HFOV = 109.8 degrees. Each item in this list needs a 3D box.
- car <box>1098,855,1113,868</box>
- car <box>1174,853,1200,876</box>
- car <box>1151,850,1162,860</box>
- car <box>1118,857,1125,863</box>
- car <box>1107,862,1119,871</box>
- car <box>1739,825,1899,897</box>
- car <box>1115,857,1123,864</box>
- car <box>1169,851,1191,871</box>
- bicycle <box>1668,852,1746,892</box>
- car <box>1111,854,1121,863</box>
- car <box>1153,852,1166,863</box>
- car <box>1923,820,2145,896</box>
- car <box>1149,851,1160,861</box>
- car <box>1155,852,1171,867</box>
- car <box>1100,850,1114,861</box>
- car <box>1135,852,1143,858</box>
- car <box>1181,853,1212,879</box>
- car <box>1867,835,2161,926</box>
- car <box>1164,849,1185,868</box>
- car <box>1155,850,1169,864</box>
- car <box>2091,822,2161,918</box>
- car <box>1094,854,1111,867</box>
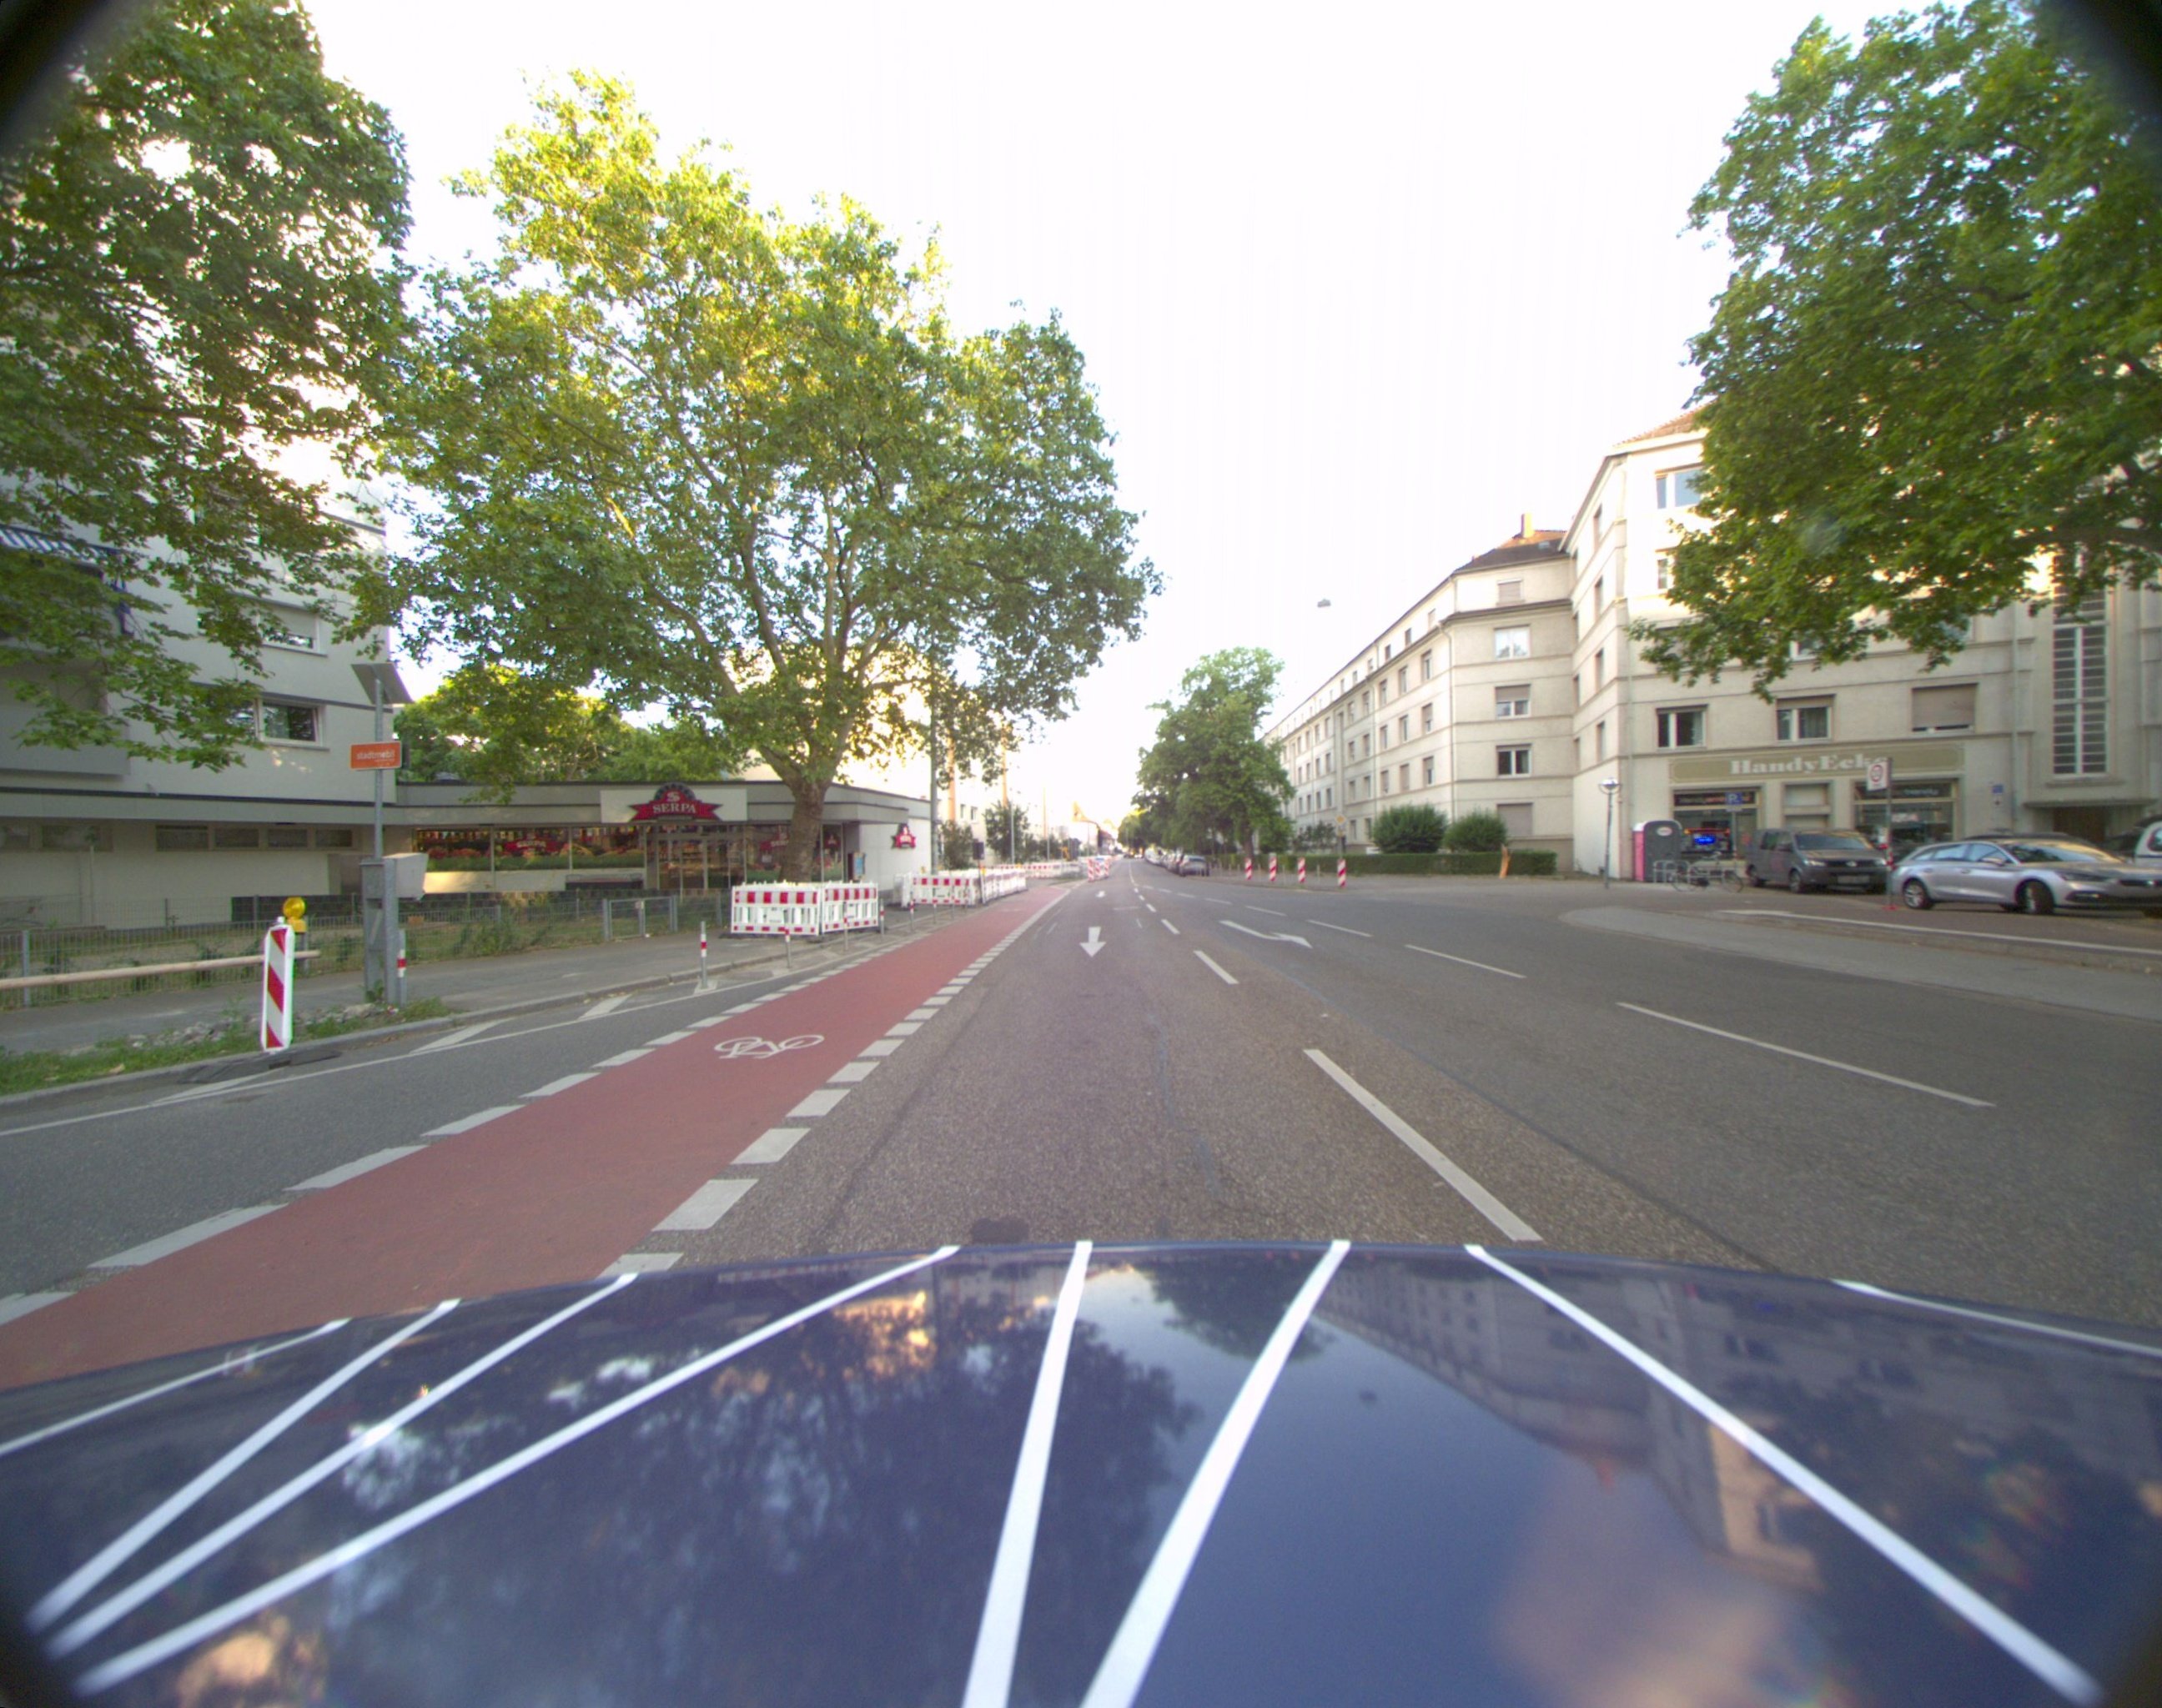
[{"bbox_3d":[3.711,1.061,113.332,1.892,1.726,4.260,-2,1,6],"label":"car"},{"bbox_3d":[8.626,0.860,62.183,1.892,1.681,4.260,-2,1,6],"label":"car"},{"bbox_3d":[13.149,0.227,132.804,1.892,1.591,4.260,-2,1,6],"label":"car"},{"bbox_3d":[10.988,1.647,205.712,1.892,1.591,4.260,-2,1,6],"label":"car"},{"bbox_3d":[5.970,2.292,141.428,1.892,1.591,4.260,-2,1,6],"label":"car"},{"bbox_3d":[22.621,0.120,23.561,1.995,1.945,4.646,0,3,23],"label":"car"},{"bbox_3d":[9.860,1.758,196.530,1.892,1.591,4.260,-2,1,6],"label":"car"},{"bbox_3d":[9.020,0.608,69.472,1.892,1.591,4.260,-2,1,6],"label":"car"},{"bbox_3d":[19.410,0.569,23.620,1.802,1.199,0.648,-1,2,33],"label":"bicycle"},{"bbox_3d":[7.204,0.936,156.249,1.892,1.591,4.260,-2,1,6],"label":"car"},{"bbox_3d":[12.133,0.551,117.882,1.892,1.591,4.260,-2,1,6],"label":"car"},{"bbox_3d":[27.127,0.015,21.923,1.995,1.945,4.646,0,3,23],"label":"car"},{"bbox_3d":[13.889,0.360,143.409,1.892,1.868,4.946,-2,1,6],"label":"car"},{"bbox_3d":[10.711,0.706,99.245,1.892,1.815,4.260,-2,1,6],"label":"car"},{"bbox_3d":[4.216,0.196,121.857,1.892,1.651,4.260,-2,1,6],"label":"car"},{"bbox_3d":[17.978,0.333,234.494,1.999,1.838,3.998,-2,1,-2],"label":"car"},{"bbox_3d":[8.133,0.819,53.929,1.892,1.591,4.001,-2,1,6],"label":"car"},{"bbox_3d":[18.141,0.466,14.680,1.996,1.494,4.647,0,-1,15],"label":"car"},{"bbox_3d":[9.292,0.398,75.418,1.892,1.764,4.260,-2,1,6],"label":"car"},{"bbox_3d":[11.562,0.382,108.210,1.892,1.855,4.260,-2,1,6],"label":"car"},{"bbox_3d":[20.726,0.288,12.999,1.995,1.771,4.649,0,-1,21],"label":"car"},{"bbox_3d":[2.898,0.816,101.044,1.892,1.591,4.260,-2,1,6],"label":"car"}]
